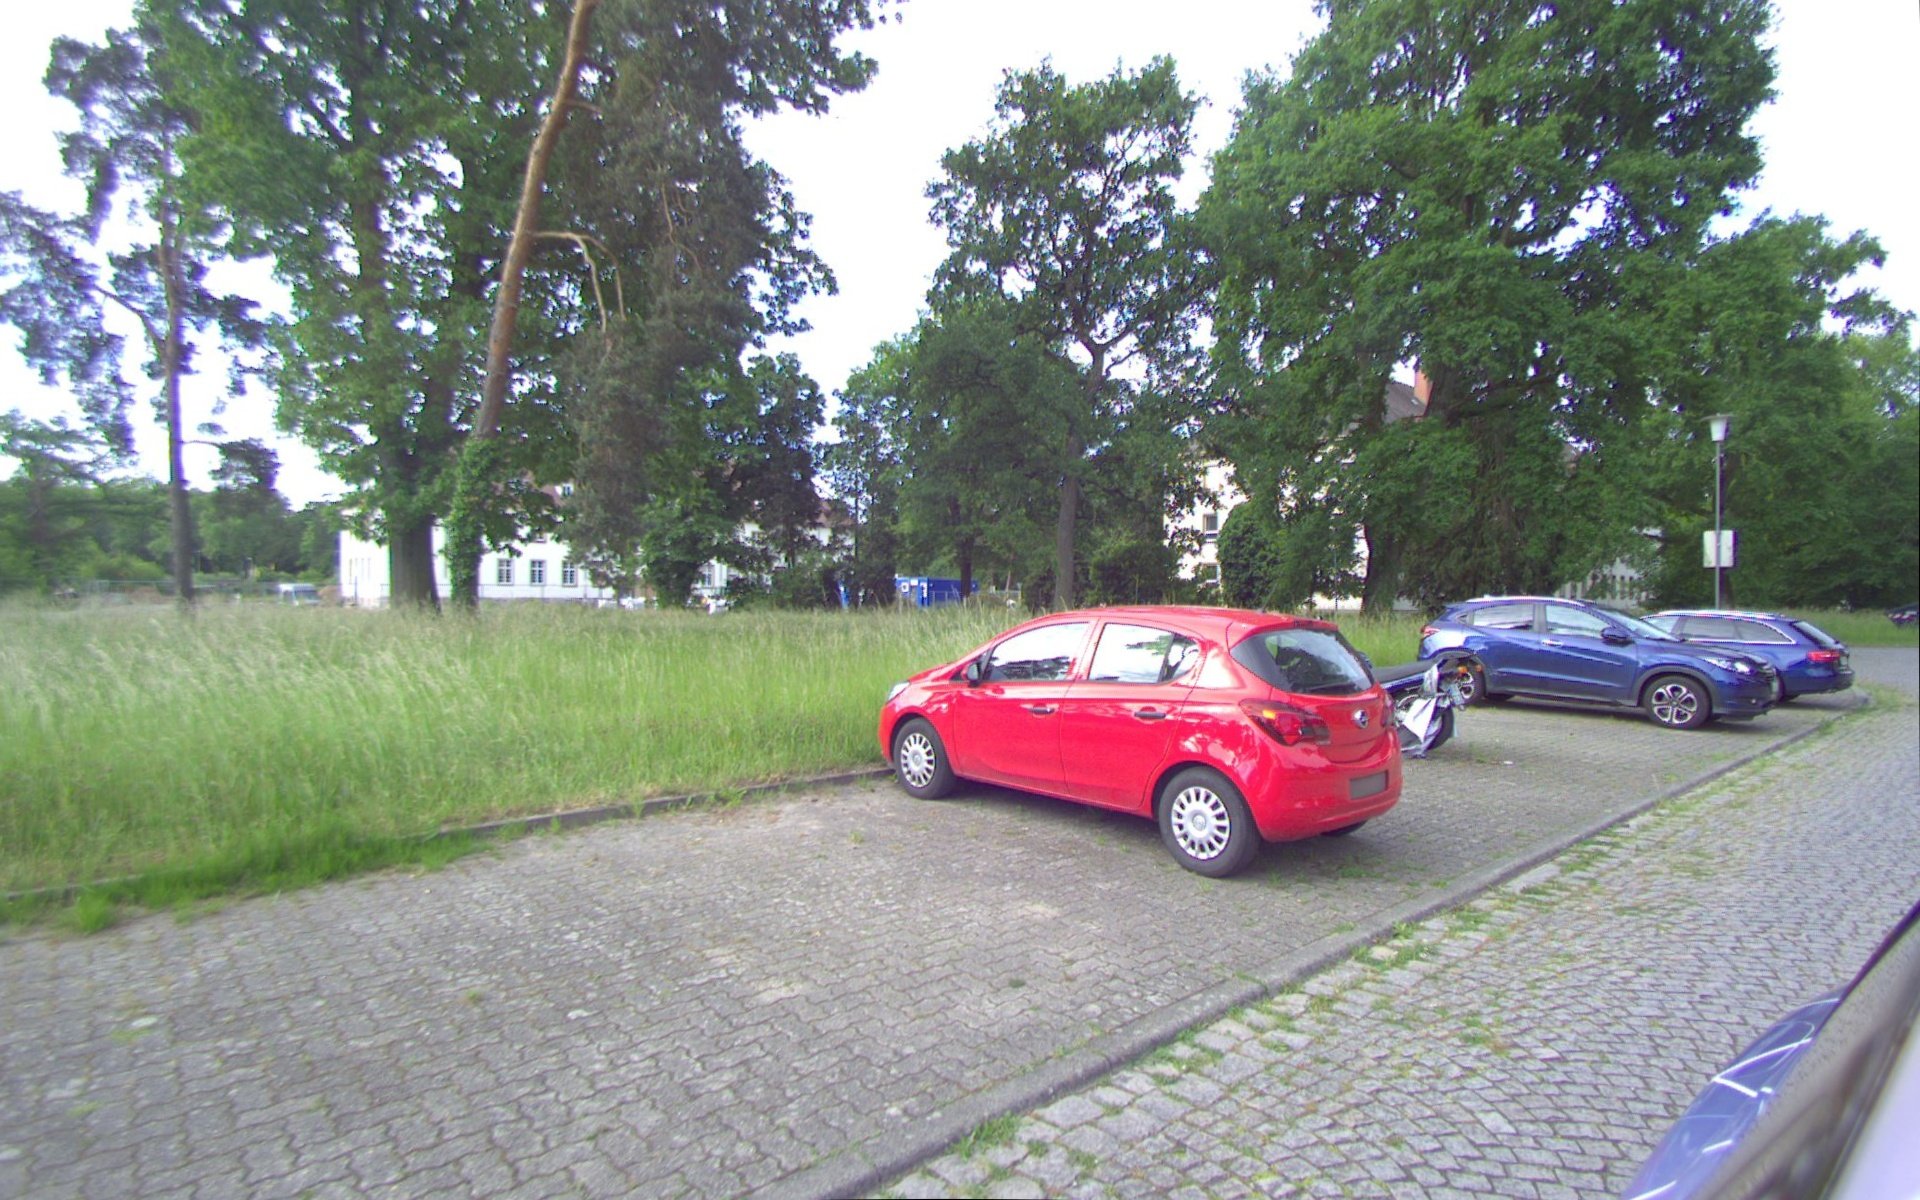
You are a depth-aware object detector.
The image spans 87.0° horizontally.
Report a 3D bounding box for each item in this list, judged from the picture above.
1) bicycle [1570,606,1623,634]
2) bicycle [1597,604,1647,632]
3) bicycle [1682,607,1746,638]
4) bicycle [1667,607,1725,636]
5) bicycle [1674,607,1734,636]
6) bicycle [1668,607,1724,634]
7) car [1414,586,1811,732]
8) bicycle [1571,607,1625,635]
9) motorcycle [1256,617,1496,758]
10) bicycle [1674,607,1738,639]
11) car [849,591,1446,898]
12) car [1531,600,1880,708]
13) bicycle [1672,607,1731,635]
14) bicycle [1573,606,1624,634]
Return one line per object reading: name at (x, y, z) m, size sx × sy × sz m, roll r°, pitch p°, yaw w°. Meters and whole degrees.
bicycle at (27.313, 0.850, 43.439) m, size 1.838 × 1.185 × 0.484 m, roll 0°, pitch -1°, yaw 23°
bicycle at (30.169, 0.798, 46.146) m, size 1.851 × 1.185 × 0.481 m, roll 2°, pitch 1°, yaw 39°
bicycle at (29.880, 0.900, 40.134) m, size 1.916 × 1.185 × 0.485 m, roll -1°, pitch -1°, yaw 21°
bicycle at (31.369, 0.910, 43.159) m, size 1.920 × 1.185 × 0.483 m, roll -2°, pitch -1°, yaw 27°
bicycle at (31.042, 0.905, 42.257) m, size 1.920 × 1.185 × 0.483 m, roll -2°, pitch -1°, yaw 27°
bicycle at (32.471, 0.910, 44.663) m, size 1.925 × 1.185 × 0.531 m, roll -2°, pitch -1°, yaw 33°
car at (8.746, 0.661, 13.850) m, size 1.855 × 1.643 × 4.250 m, roll 0°, pitch 1°, yaw -43°
bicycle at (27.033, 0.874, 42.912) m, size 1.838 × 1.185 × 0.484 m, roll 0°, pitch -1°, yaw 23°
motorcycle at (4.195, 0.831, 10.379) m, size 0.558 × 1.217 × 2.232 m, roll 1°, pitch 1°, yaw -43°
bicycle at (29.314, 0.905, 39.770) m, size 1.916 × 1.185 × 0.485 m, roll -1°, pitch -1°, yaw 21°
car at (1.089, 0.729, 7.223) m, size 1.755 × 1.515 × 3.928 m, roll 0°, pitch 1°, yaw -43°
car at (12.265, 0.784, 16.901) m, size 1.892 × 1.457 × 4.367 m, roll 1°, pitch 1°, yaw -39°
bicycle at (31.861, 0.907, 43.512) m, size 1.920 × 1.185 × 0.483 m, roll -2°, pitch -1°, yaw 27°
bicycle at (27.747, 0.850, 44.006) m, size 1.842 × 1.185 × 0.483 m, roll 0°, pitch -1°, yaw 28°
